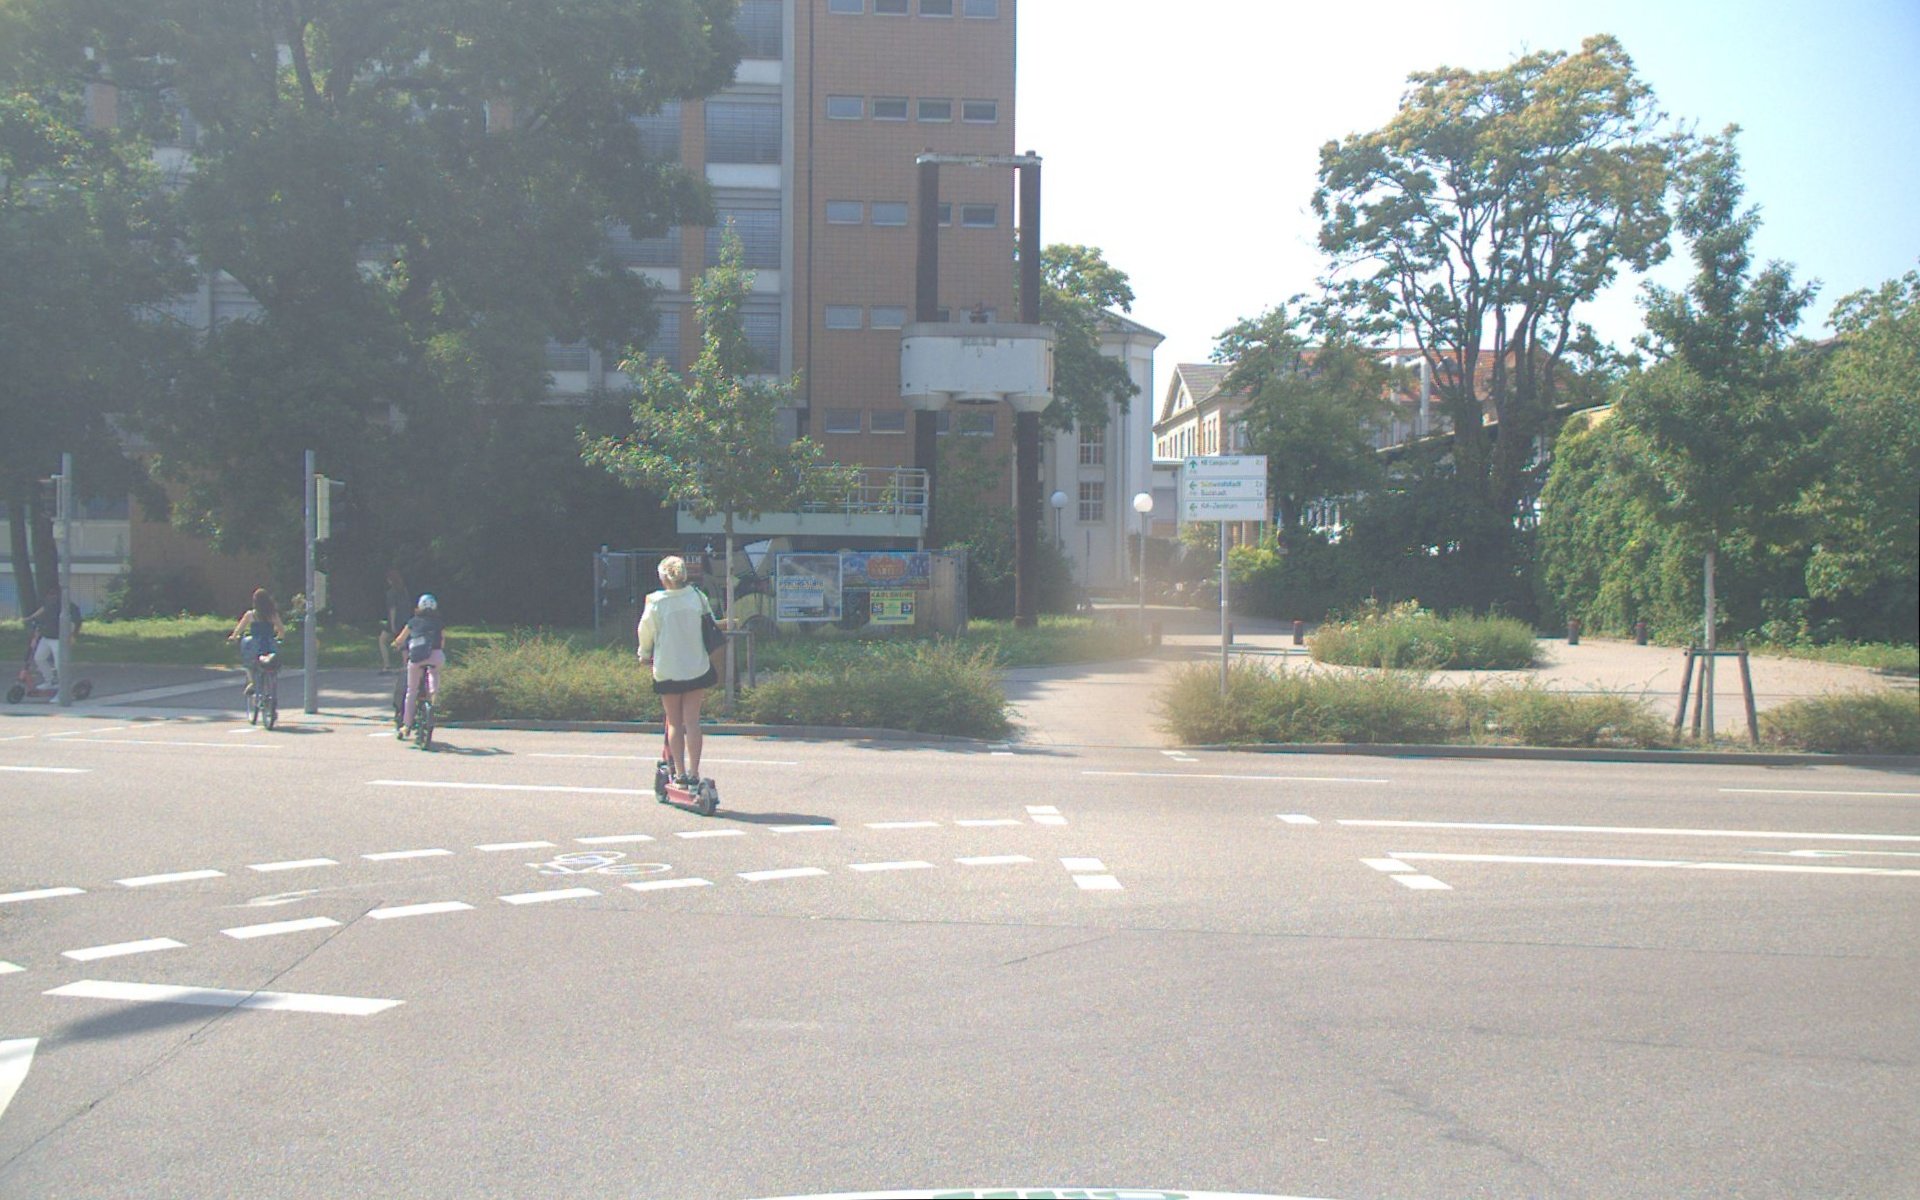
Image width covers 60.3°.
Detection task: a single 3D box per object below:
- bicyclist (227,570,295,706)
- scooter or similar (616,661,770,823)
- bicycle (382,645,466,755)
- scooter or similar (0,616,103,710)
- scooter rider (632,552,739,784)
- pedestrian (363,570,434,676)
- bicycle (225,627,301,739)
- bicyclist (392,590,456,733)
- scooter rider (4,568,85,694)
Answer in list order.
[{"bbox_3d":[-8.739,0.454,20.665,0.682,1.626,0.836,-2,3,-28],"label":"bicyclist"},{"bbox_3d":[-2.076,1.039,12.651,0.550,1.078,1.985,0,-1,-28],"label":"scooter or similar"},{"bbox_3d":[-5.940,1.068,18.269,0.550,1.078,1.986,1,0,-28],"label":"bicycle"},{"bbox_3d":[-13.217,0.887,23.887,0.574,1.256,1.362,1,2,38],"label":"scooter or similar"},{"bbox_3d":[-2.117,0.509,12.735,0.663,1.729,0.534,1,-1,-29],"label":"scooter rider"},{"bbox_3d":[-9.440,0.380,27.823,0.857,1.734,0.708,0,2,14],"label":"pedestrian"},{"bbox_3d":[-8.742,1.003,20.691,0.685,1.175,2.350,-1,3,-27],"label":"bicycle"},{"bbox_3d":[-5.884,0.657,18.148,0.542,1.522,0.796,0,0,-28],"label":"bicyclist"},{"bbox_3d":[-13.190,0.431,23.832,0.675,1.769,0.801,1,2,38],"label":"scooter rider"}]
